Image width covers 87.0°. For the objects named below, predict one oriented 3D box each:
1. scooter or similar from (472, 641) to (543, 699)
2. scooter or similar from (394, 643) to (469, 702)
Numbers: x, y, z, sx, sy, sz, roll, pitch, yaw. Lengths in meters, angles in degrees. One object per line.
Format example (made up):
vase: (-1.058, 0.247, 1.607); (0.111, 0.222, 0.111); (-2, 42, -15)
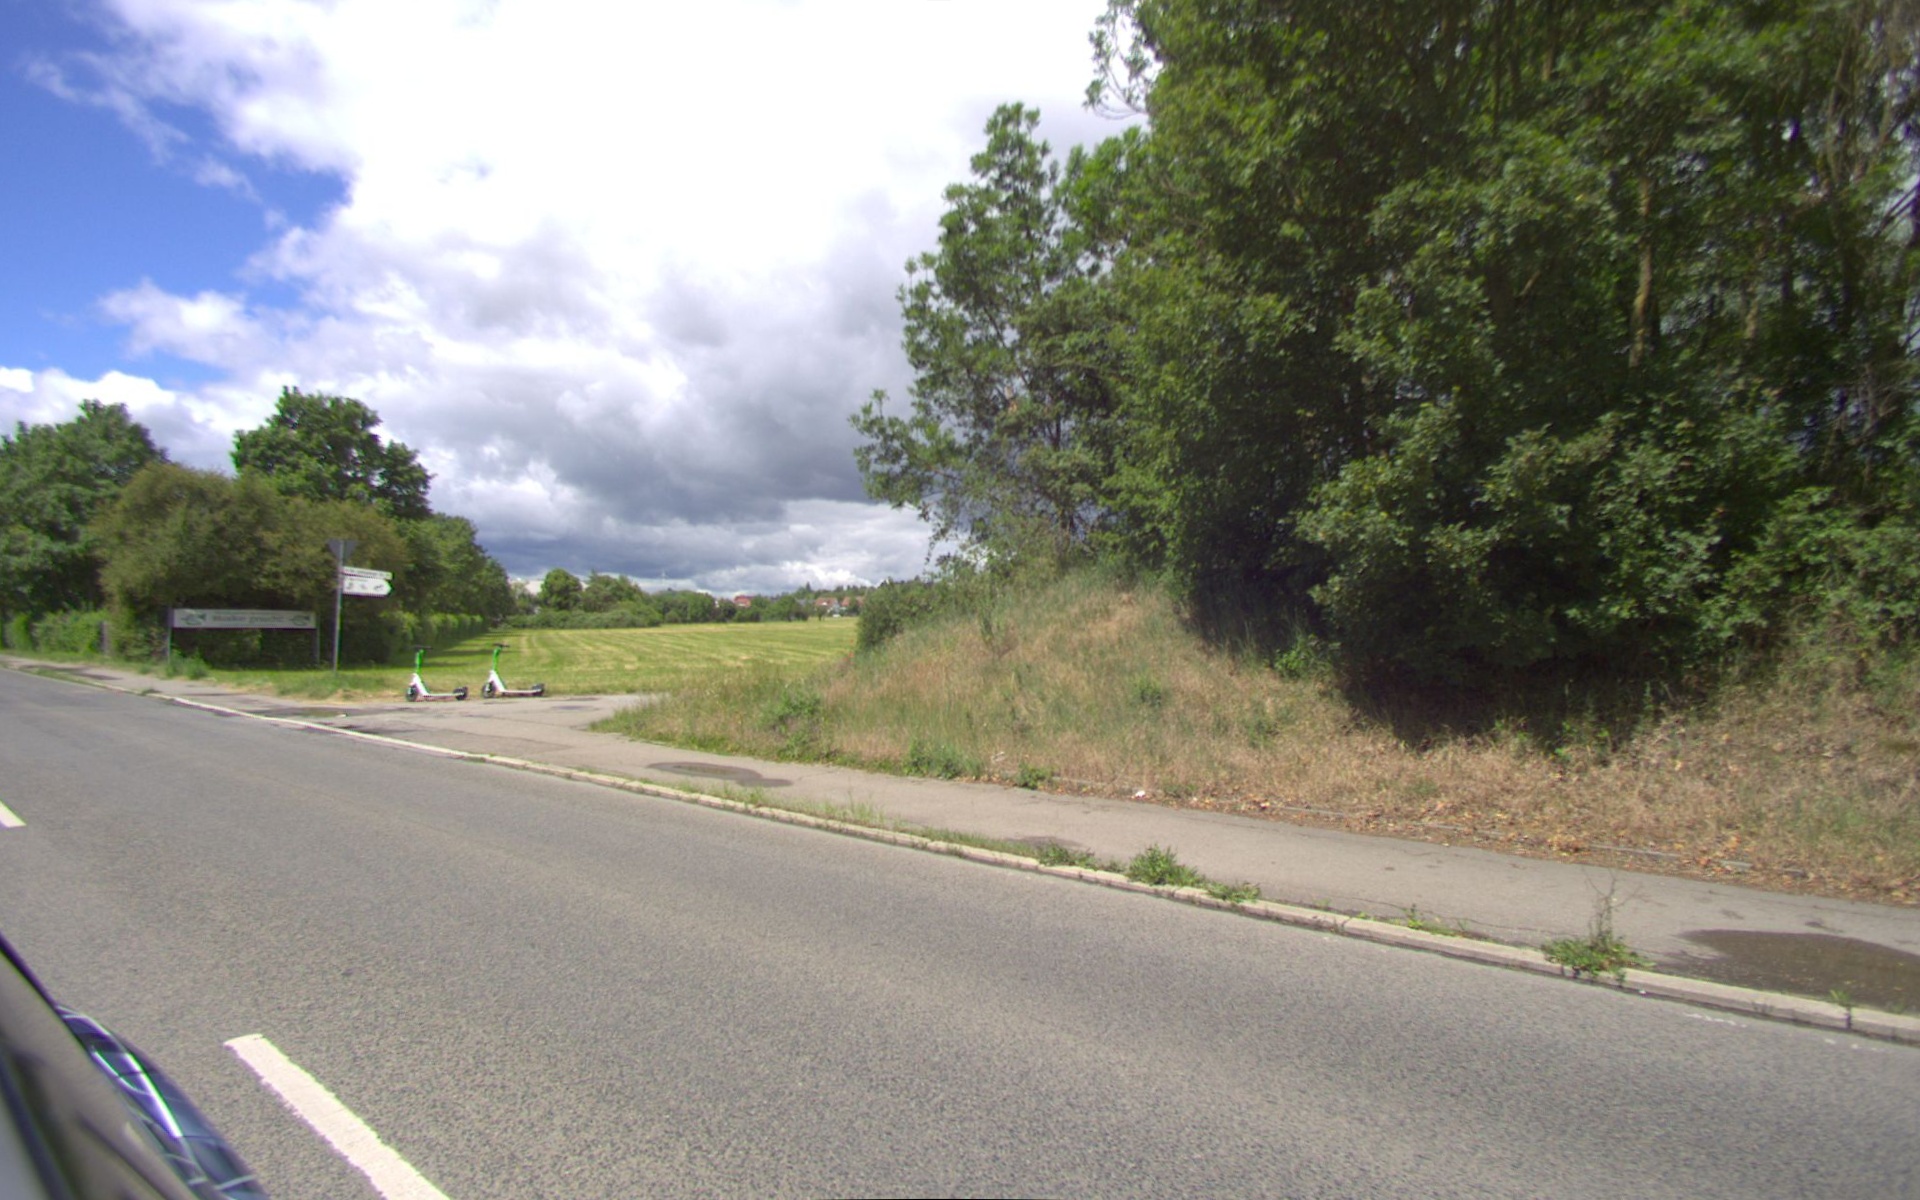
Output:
scooter or similar: (-9.657, 1.484, 21.615); (1.329, 1.177, 0.407); (-1, -1, -8)
scooter or similar: (-10.993, 1.502, 21.062); (1.331, 1.177, 0.407); (-1, -1, -3)
